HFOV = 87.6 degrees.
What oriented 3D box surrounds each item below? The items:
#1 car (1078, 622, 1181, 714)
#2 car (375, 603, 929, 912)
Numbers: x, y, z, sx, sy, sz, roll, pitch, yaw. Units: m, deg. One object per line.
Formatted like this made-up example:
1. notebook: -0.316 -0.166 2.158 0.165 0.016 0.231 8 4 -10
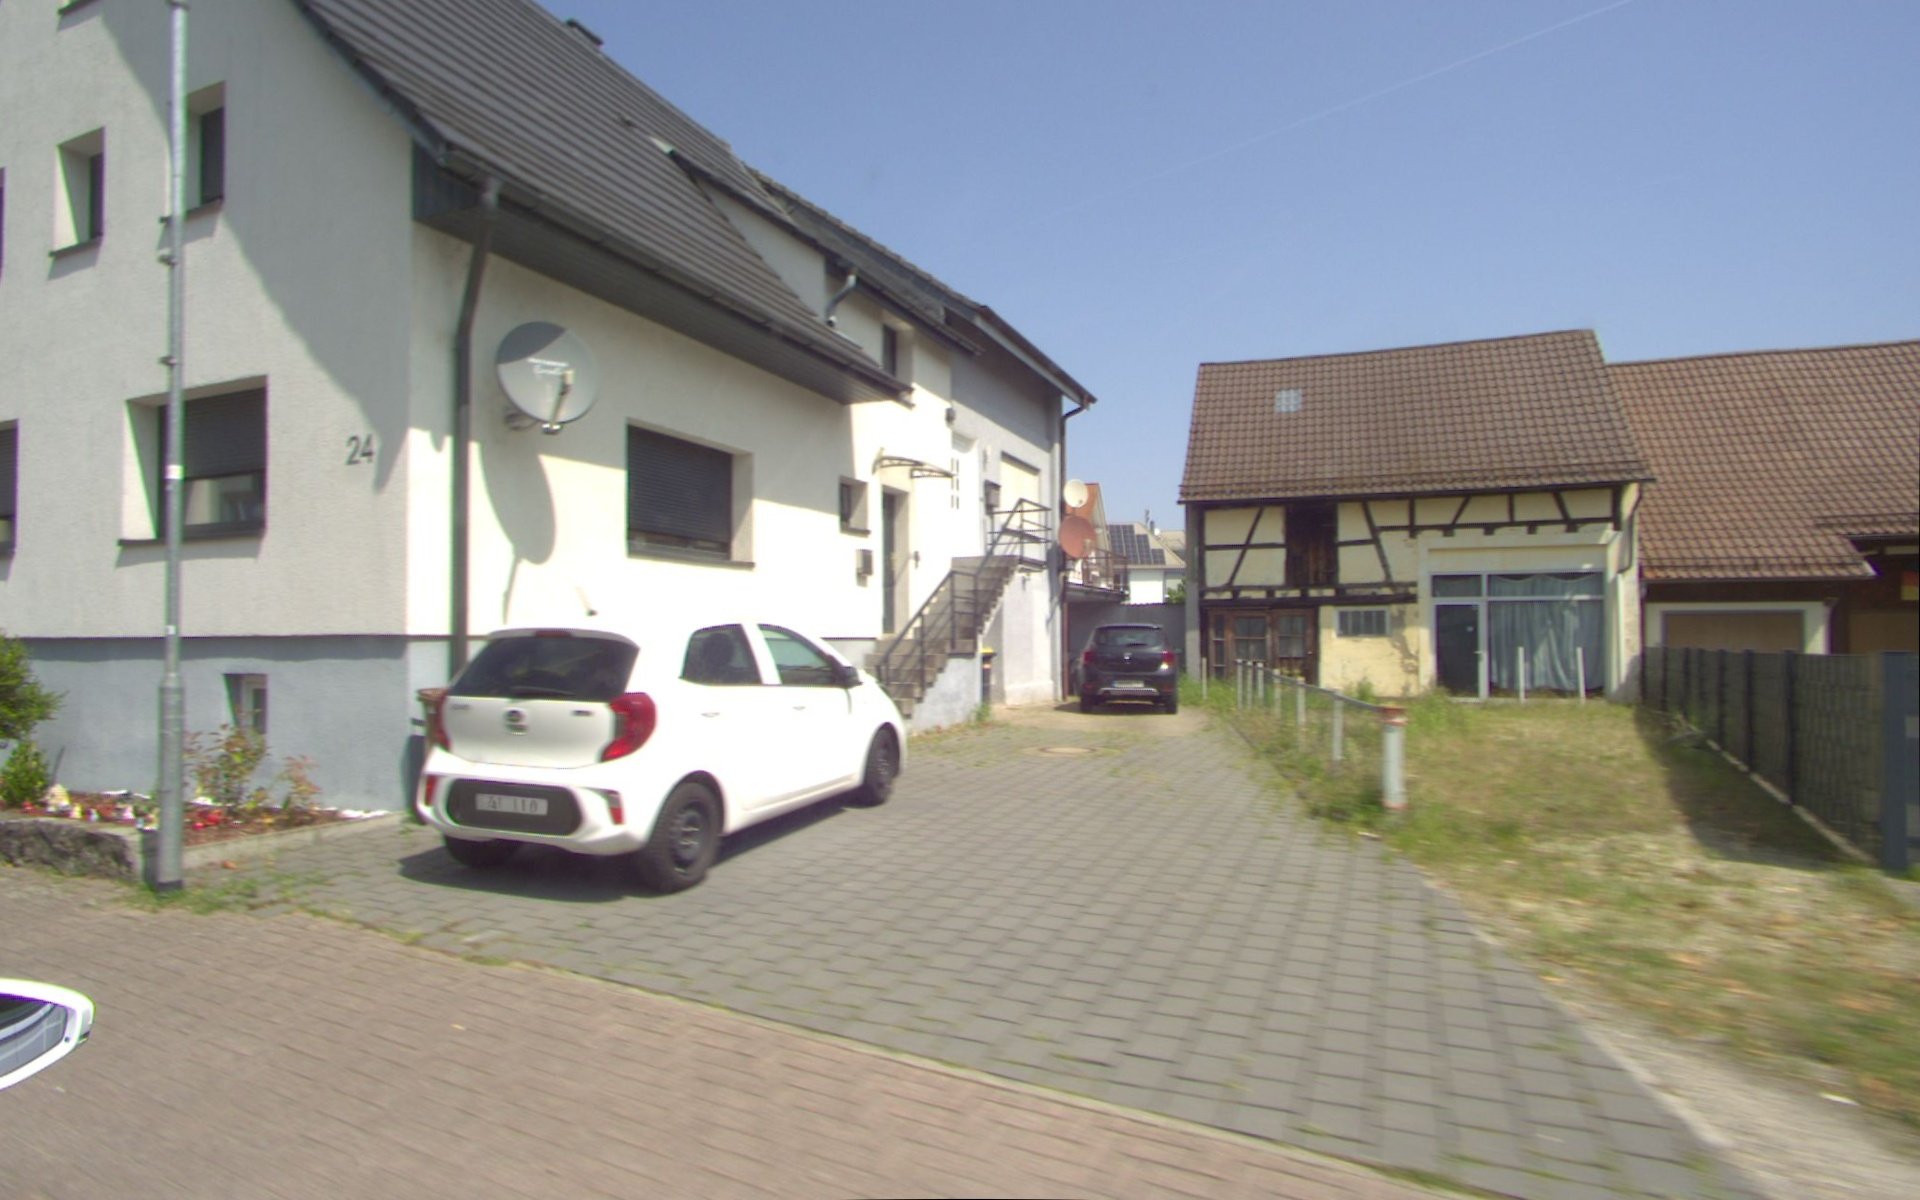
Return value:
1. car: 3.065 1.222 18.376 1.685 1.509 3.577 0 -3 8
2. car: -1.732 0.783 6.874 1.735 1.494 3.660 0 0 22
